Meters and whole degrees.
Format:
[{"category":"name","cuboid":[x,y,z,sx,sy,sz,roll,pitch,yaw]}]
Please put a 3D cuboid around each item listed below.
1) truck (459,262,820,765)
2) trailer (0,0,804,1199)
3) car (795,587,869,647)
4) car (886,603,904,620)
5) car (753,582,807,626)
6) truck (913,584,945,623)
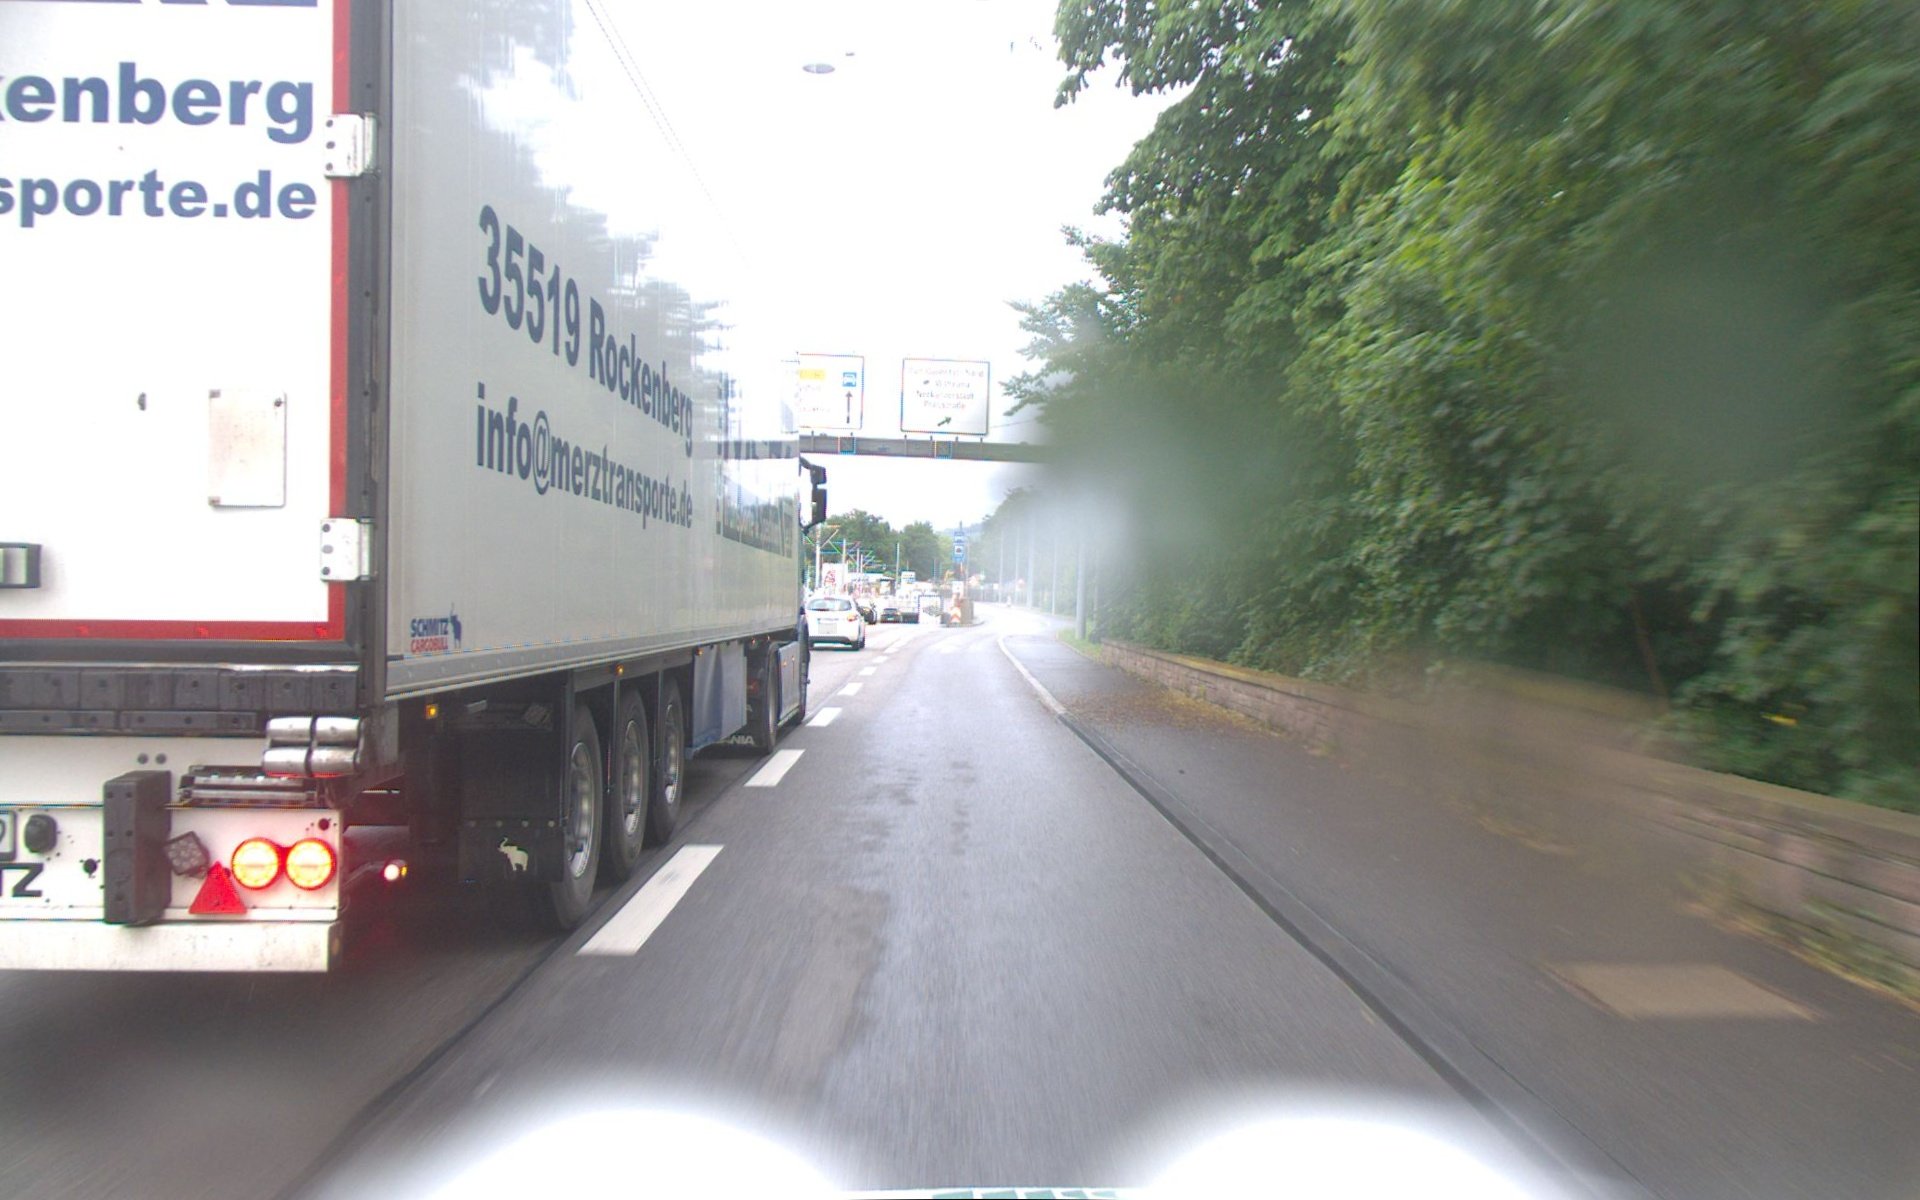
[{"category":"truck","cuboid":[-3.001,-0.759,17.271,2.700,4.278,6.304,0,0,-2]},{"category":"trailer","cuboid":[-2.876,-0.634,10.562,2.706,4.327,13.181,0,0,-1]},{"category":"car","cuboid":[-3.486,0.425,45.612,1.773,1.448,4.000,1,2,-1]},{"category":"car","cuboid":[-5.326,0.947,135.804,1.397,1.378,2.959,1,0,-1]},{"category":"car","cuboid":[-6.727,0.130,62.102,1.647,1.471,4.000,1,2,-1]},{"category":"truck","cuboid":[-3.401,0.409,182.403,3.447,4.110,8.072,1,0,-1]}]
